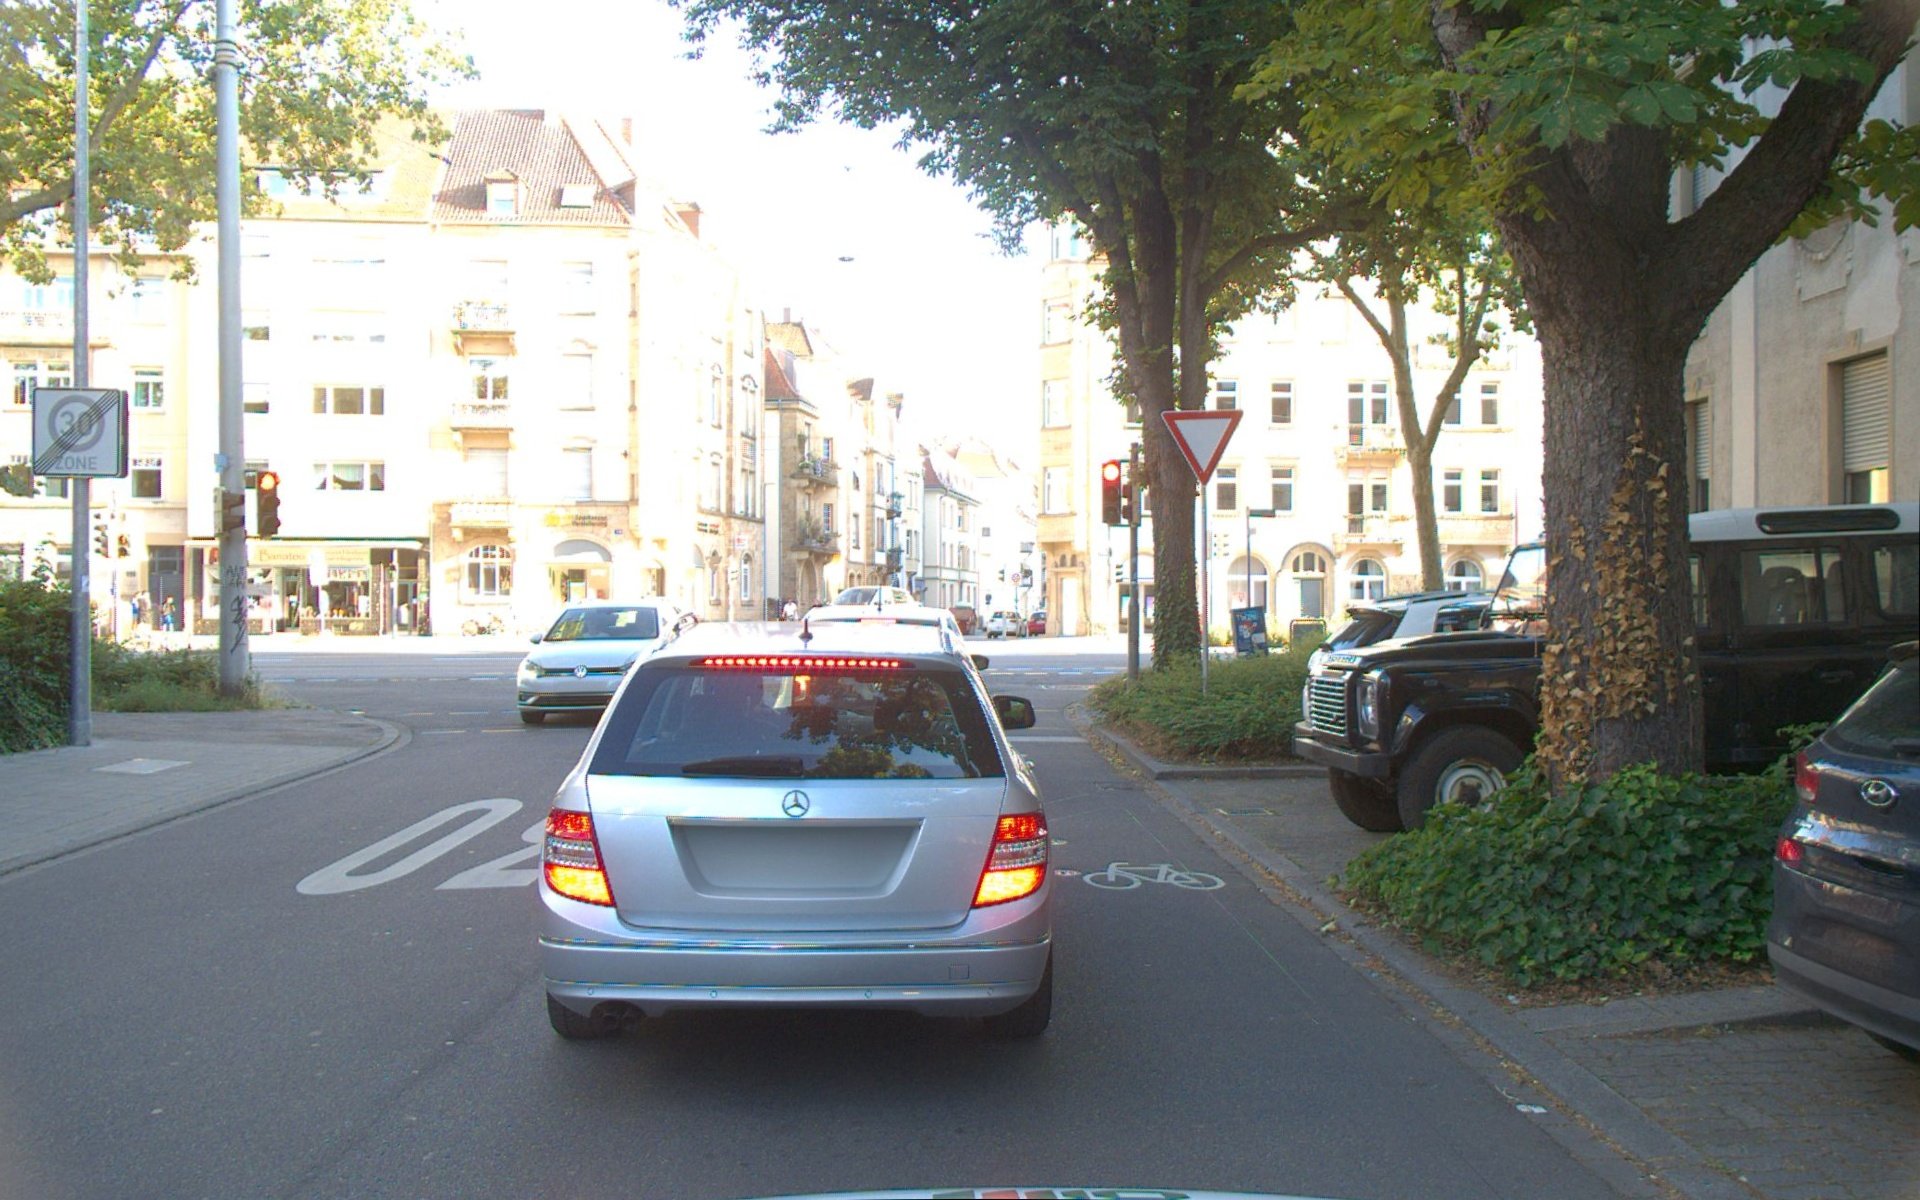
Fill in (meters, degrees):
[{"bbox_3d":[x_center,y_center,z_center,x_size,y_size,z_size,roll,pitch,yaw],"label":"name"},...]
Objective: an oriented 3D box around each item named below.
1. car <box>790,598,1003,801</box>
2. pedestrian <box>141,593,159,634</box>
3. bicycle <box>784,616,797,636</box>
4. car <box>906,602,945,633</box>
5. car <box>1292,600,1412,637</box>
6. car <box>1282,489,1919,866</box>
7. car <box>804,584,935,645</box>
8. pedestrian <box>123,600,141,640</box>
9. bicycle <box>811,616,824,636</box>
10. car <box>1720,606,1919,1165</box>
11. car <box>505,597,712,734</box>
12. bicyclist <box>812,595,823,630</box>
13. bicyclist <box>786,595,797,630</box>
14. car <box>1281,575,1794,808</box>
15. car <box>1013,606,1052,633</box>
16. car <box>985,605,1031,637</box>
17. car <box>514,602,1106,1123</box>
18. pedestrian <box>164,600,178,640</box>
[{"bbox_3d":[-0.522,0.708,13.534,1.502,1.415,3.597,0,0,-2],"label":"car"},{"bbox_3d":[-30.598,0.504,62.481,0.557,1.537,0.499,0,0,-20],"label":"pedestrian"},{"bbox_3d":[-7.472,1.152,72.920,0.557,0.849,1.564,0,0,-4],"label":"bicycle"},{"bbox_3d":[-2.117,1.099,102.381,1.615,1.814,3.866,0,-1,10],"label":"car"},{"bbox_3d":[11.798,0.564,49.872,3.296,1.087,1.380,0,0,-2],"label":"car"},{"bbox_3d":[4.418,0.403,10.240,4.402,1.990,1.791,-2,0,-4],"label":"car"},{"bbox_3d":[-2.367,0.357,43.950,1.588,1.527,3.579,0,1,36],"label":"car"},{"bbox_3d":[-32.020,0.777,63.971,0.532,1.537,0.502,0,0,-43],"label":"pedestrian"},{"bbox_3d":[-6.305,1.135,73.222,0.557,0.849,1.564,0,0,-4],"label":"bicycle"},{"bbox_3d":[4.311,0.690,4.548,3.675,1.446,1.627,-2,-1,-4],"label":"car"},{"bbox_3d":[-4.345,0.747,21.097,1.745,1.487,4.299,-1,1,-1],"label":"car"},{"bbox_3d":[-6.314,0.550,73.254,0.457,1.547,0.693,0,0,-4],"label":"bicyclist"},{"bbox_3d":[-7.449,0.553,73.064,0.457,1.541,0.655,0,0,-4],"label":"bicyclist"},{"bbox_3d":[4.460,0.659,13.059,3.415,1.614,1.708,-1,0,-7],"label":"car"},{"bbox_3d":[4.484,1.189,102.122,1.684,1.503,4.004,-4,0,11],"label":"car"},{"bbox_3d":[2.537,1.058,85.924,1.684,1.504,4.004,-2,0,11],"label":"car"},{"bbox_3d":[-0.518,0.759,6.465,1.657,1.454,3.490,1,0,-3],"label":"car"},{"bbox_3d":[-30.333,0.770,63.587,0.466,1.537,0.428,0,0,-21],"label":"pedestrian"}]
